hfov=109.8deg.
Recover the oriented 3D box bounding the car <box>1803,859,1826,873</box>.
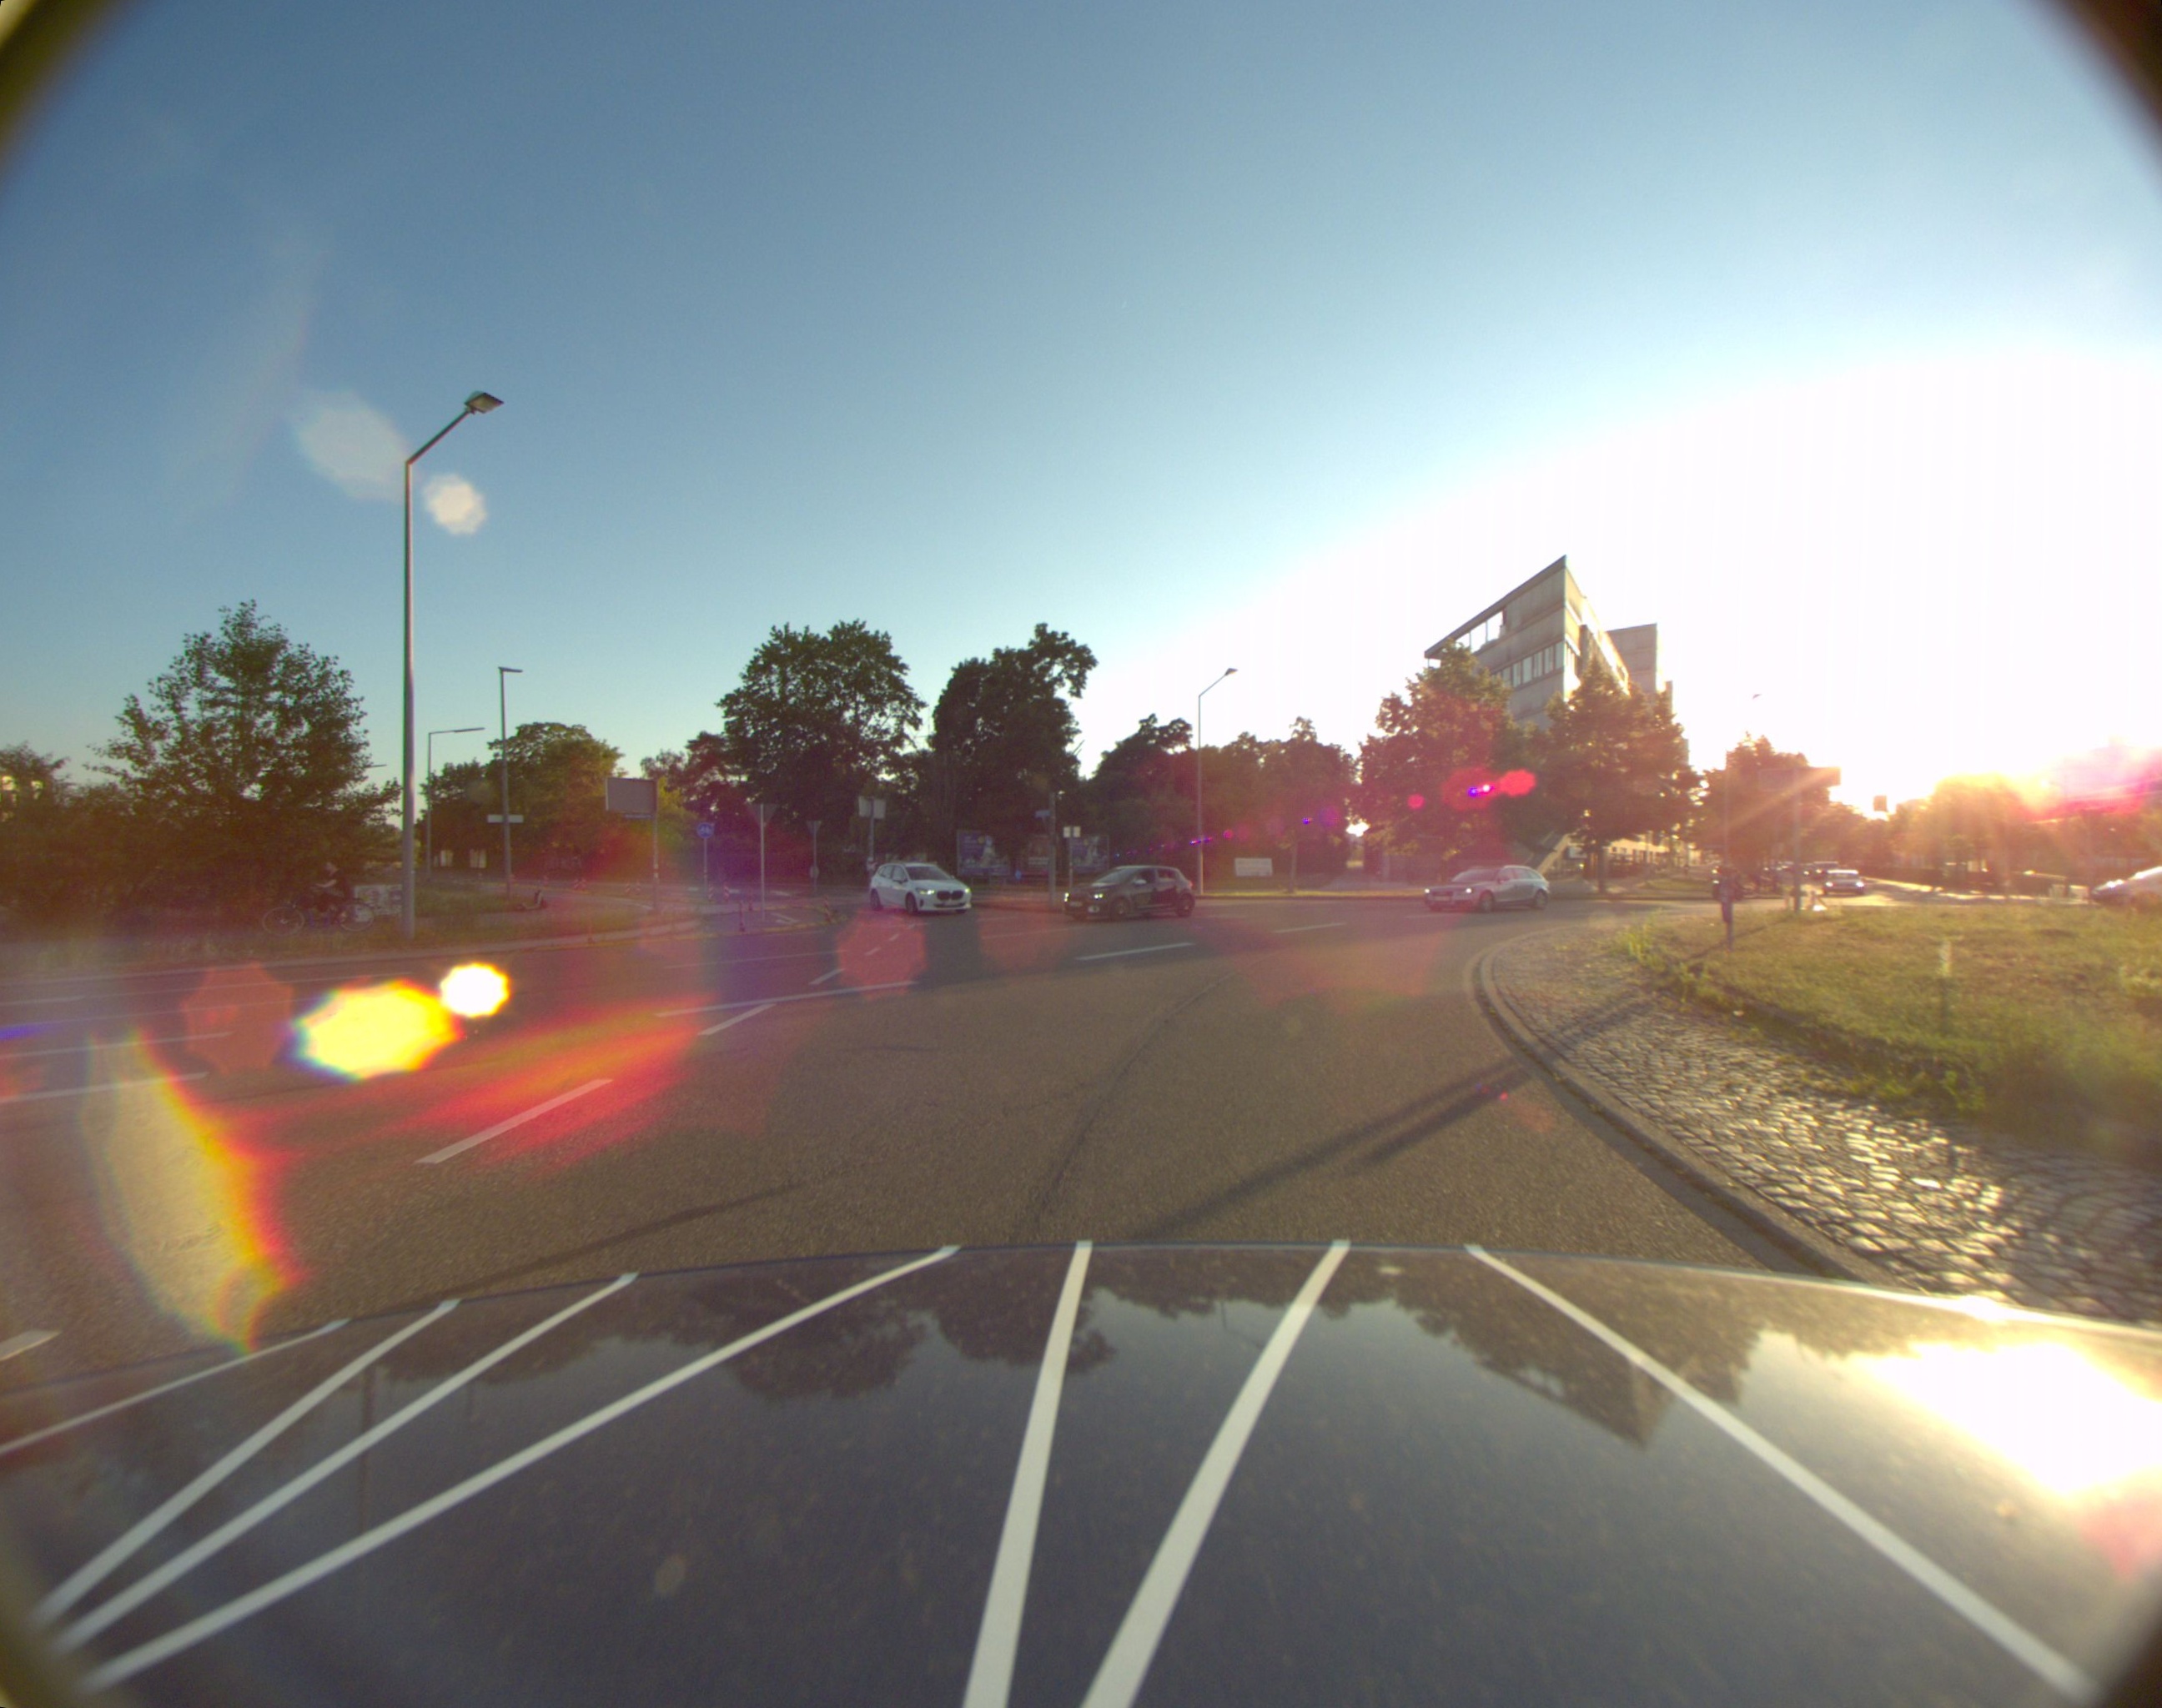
[{"bbox_3d":[96.132,1.534,99.620,1.714,1.827,4.008,0,0,37],"label":"car"}]

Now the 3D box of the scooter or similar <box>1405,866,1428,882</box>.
[{"bbox_3d":[25.909,1.527,58.711,0.367,1.213,1.572,0,0,-40],"label":"scooter or similar"}]

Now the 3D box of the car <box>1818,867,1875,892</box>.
[{"bbox_3d":[48.299,1.589,47.944,4.059,1.472,1.887,0,0,-35],"label":"car"}]

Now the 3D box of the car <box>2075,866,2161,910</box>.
[{"bbox_3d":[36.492,1.135,25.362,3.700,1.457,1.610,0,0,31],"label":"car"}]

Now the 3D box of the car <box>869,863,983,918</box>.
[{"bbox_3d":[-4.962,1.059,23.922,1.895,1.549,4.084,0,0,-38],"label":"car"}]

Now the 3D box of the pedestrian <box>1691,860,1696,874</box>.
[{"bbox_3d":[82.345,1.743,102.153,0.537,2.002,0.528,0,0,40],"label":"pedestrian"}]

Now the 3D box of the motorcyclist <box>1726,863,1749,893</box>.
[{"bbox_3d":[31.163,1.122,36.068,0.595,1.400,0.635,0,1,-29],"label":"motorcyclist"}]

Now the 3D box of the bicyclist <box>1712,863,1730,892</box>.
[{"bbox_3d":[37.299,1.367,44.274,0.682,1.638,0.685,0,0,31],"label":"bicyclist"}]

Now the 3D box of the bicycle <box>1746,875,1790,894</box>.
[{"bbox_3d":[40.068,1.770,44.325,0.438,1.016,1.858,0,0,-42],"label":"bicycle"}]

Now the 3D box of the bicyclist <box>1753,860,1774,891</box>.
[{"bbox_3d":[39.739,1.232,44.232,0.806,1.745,0.847,0,0,-43],"label":"bicyclist"}]

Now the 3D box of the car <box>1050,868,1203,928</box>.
[{"bbox_3d":[1.297,1.133,20.784,4.008,1.455,1.798,1,0,-39],"label":"car"}]

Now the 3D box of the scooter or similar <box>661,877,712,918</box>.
[{"bbox_3d":[-11.886,1.293,22.925,0.441,1.156,1.385,0,0,26],"label":"scooter or similar"}]

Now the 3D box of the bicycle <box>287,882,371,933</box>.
[{"bbox_3d":[-17.526,1.228,17.735,0.279,1.082,1.375,0,0,25],"label":"bicycle"}]

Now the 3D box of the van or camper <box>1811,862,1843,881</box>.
[{"bbox_3d":[81.740,1.901,83.291,1.994,1.946,5.340,0,0,39],"label":"van or camper"}]

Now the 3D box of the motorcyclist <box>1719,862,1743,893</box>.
[{"bbox_3d":[30.578,1.110,35.763,0.716,1.408,0.635,0,1,-29],"label":"motorcyclist"}]

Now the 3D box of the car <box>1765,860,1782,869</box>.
[{"bbox_3d":[107.460,1.633,117.957,1.798,1.455,4.009,0,0,40],"label":"car"}]

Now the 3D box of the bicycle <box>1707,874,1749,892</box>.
[{"bbox_3d":[37.428,1.689,43.971,1.858,1.016,0.308,0,0,31],"label":"bicycle"}]

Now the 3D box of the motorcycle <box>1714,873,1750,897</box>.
[{"bbox_3d":[30.676,1.455,35.795,2.163,1.094,0.557,0,1,-28],"label":"motorcycle"}]

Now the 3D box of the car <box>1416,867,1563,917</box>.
[{"bbox_3d":[12.630,1.115,23.440,4.455,1.414,1.799,0,0,-27],"label":"car"}]
